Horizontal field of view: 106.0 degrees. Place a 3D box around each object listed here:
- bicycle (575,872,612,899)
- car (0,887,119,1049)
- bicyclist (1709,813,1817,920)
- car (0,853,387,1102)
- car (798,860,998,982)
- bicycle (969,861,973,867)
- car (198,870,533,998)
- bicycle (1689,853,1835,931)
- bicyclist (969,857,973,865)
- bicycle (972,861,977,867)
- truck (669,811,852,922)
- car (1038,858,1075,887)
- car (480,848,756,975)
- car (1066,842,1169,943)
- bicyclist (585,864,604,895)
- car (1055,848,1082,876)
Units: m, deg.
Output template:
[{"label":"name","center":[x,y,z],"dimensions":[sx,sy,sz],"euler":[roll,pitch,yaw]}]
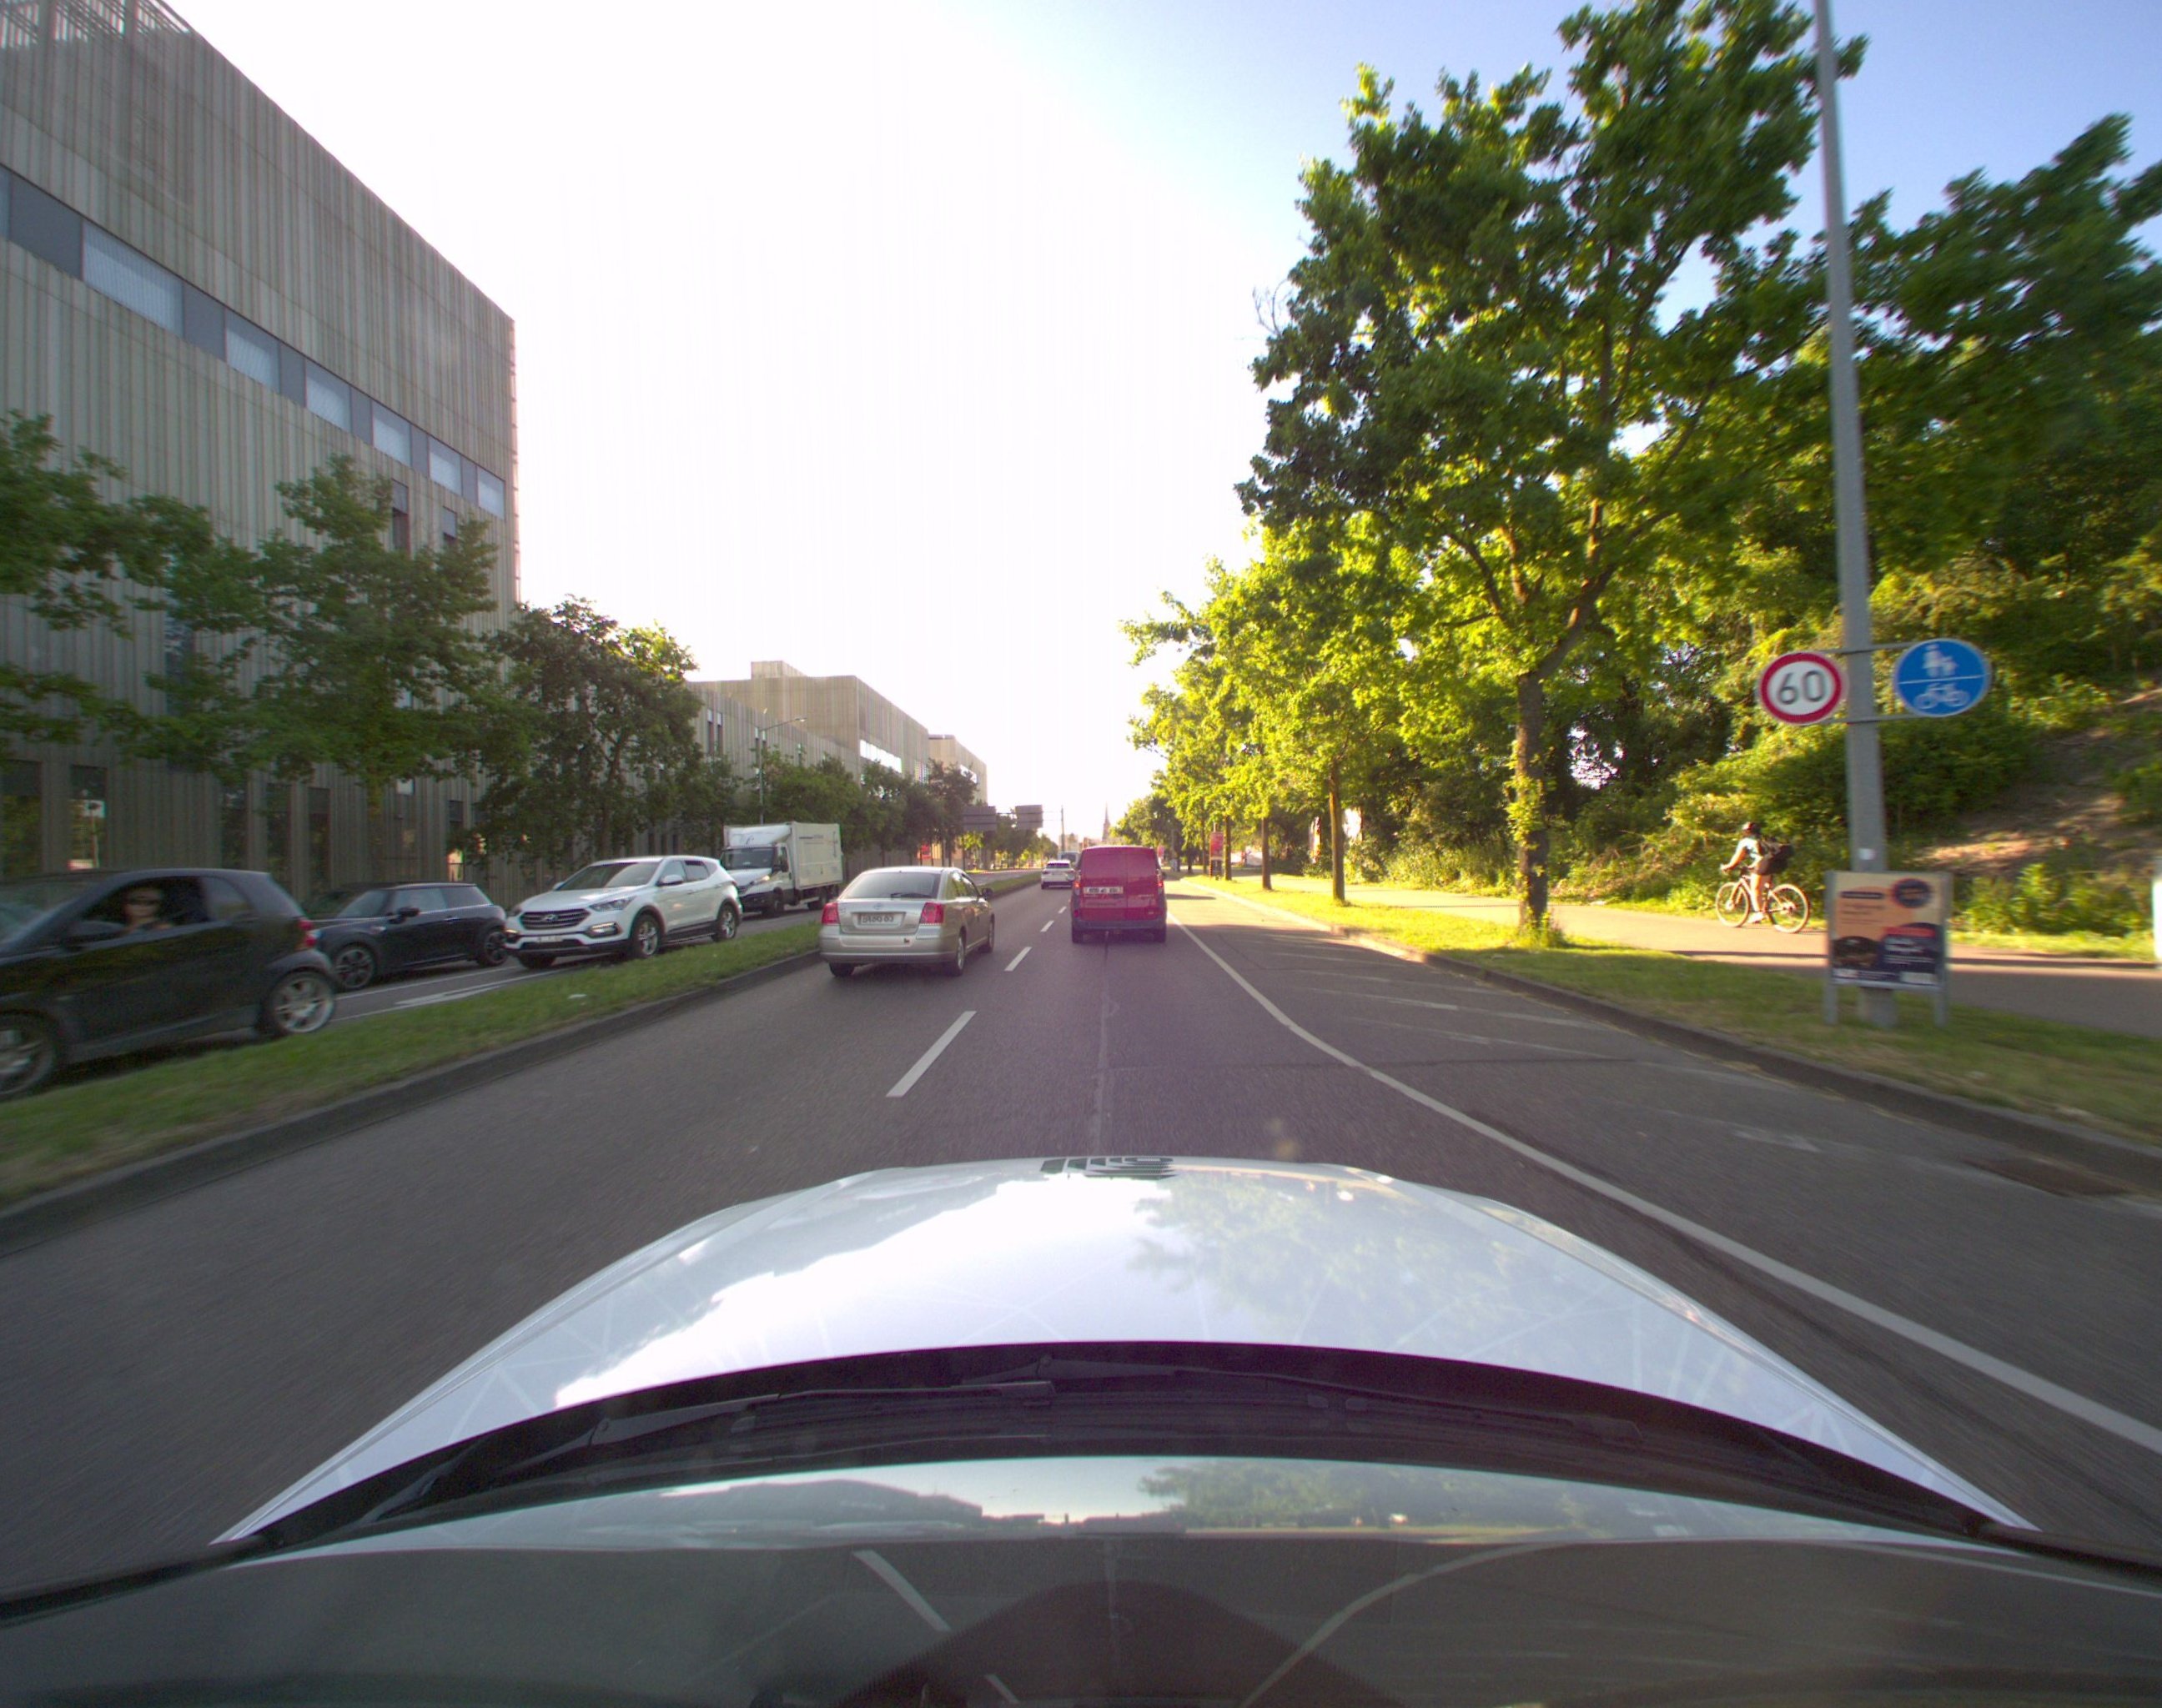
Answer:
[{"label":"bicycle","center":[-24.158,1.547,40.378],"dimensions":[0.510,1.270,2.100],"euler":[-2,0,1]},{"label":"car","center":[-10.719,1.096,6.433],"dimensions":[1.697,1.441,3.753],"euler":[-3,0,0]},{"label":"bicyclist","center":[10.184,0.181,12.199],"dimensions":[0.683,1.522,1.035],"euler":[-2,-1,-1]},{"label":"car","center":[-7.654,0.835,6.338],"dimensions":[1.595,1.580,3.215],"euler":[-3,-1,3]},{"label":"car","center":[-2.428,0.828,11.925],"dimensions":[1.834,1.456,4.164],"euler":[0,0,2]},{"label":"bicycle","center":[-19.941,1.818,147.428],"dimensions":[0.485,1.003,2.096],"euler":[-2,-1,1]},{"label":"car","center":[-10.314,1.051,12.154],"dimensions":[1.614,1.469,3.642],"euler":[-3,0,2]},{"label":"bicycle","center":[10.181,0.535,12.276],"dimensions":[0.514,1.072,1.935],"euler":[-2,-1,-1]},{"label":"bicyclist","center":[-19.959,1.338,147.394],"dimensions":[0.480,1.395,0.844],"euler":[-2,-1,1]},{"label":"bicycle","center":[-19.155,1.774,146.661],"dimensions":[0.568,1.003,2.096],"euler":[-2,-1,1]},{"label":"truck","center":[-10.041,0.366,26.505],"dimensions":[2.675,2.961,7.118],"euler":[-4,-1,2]},{"label":"car","center":[-1.222,0.918,42.042],"dimensions":[1.655,1.398,3.560],"euler":[-2,-1,1]},{"label":"car","center":[-7.484,0.832,13.844],"dimensions":[1.817,1.682,4.660],"euler":[-4,-1,2]},{"label":"car","center":[0.701,0.688,16.339],"dimensions":[1.799,1.759,4.007],"euler":[-1,-1,1]},{"label":"bicyclist","center":[-24.168,1.254,40.466],"dimensions":[0.505,1.507,0.645],"euler":[-2,0,1]},{"label":"car","center":[-0.850,0.578,56.812],"dimensions":[1.655,1.856,3.560],"euler":[-2,-1,1]}]
